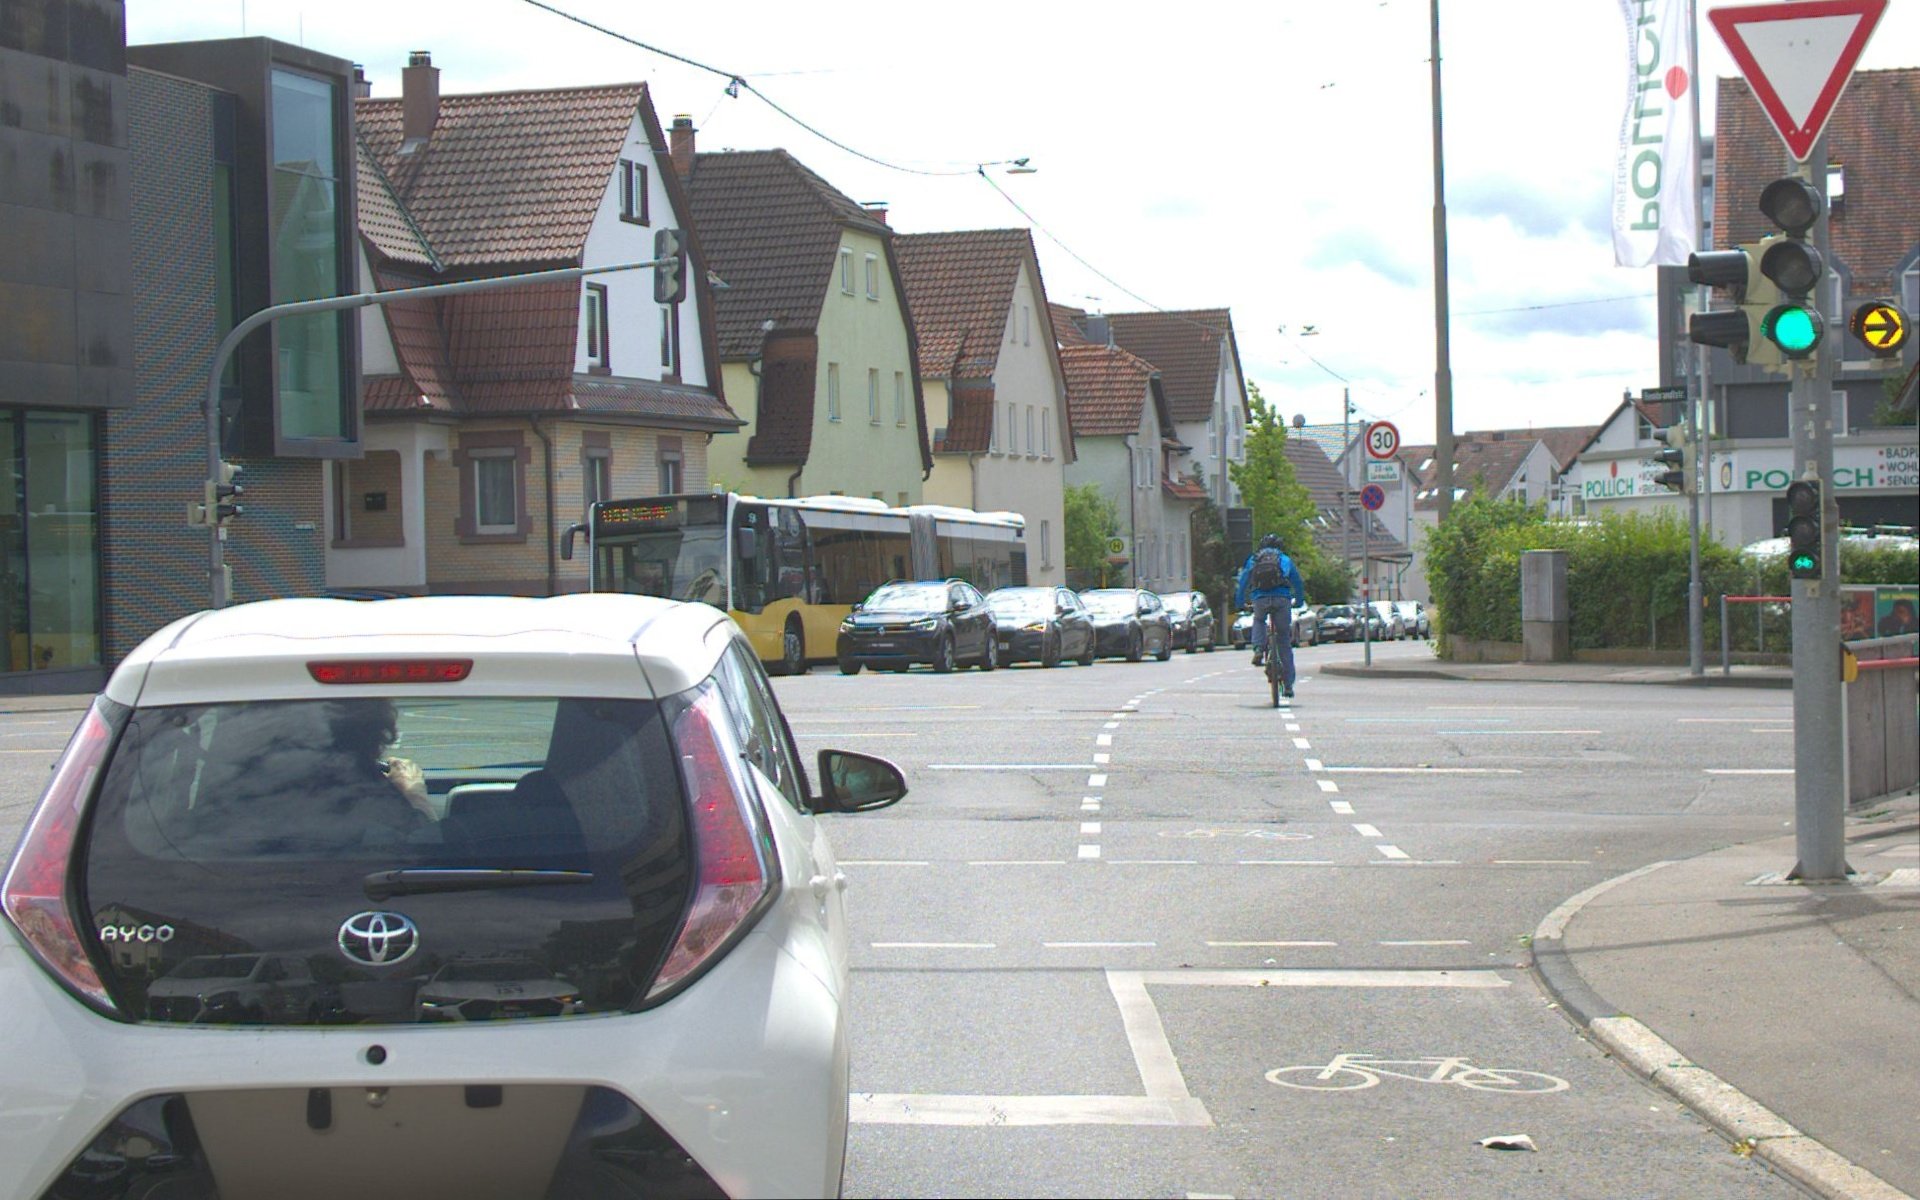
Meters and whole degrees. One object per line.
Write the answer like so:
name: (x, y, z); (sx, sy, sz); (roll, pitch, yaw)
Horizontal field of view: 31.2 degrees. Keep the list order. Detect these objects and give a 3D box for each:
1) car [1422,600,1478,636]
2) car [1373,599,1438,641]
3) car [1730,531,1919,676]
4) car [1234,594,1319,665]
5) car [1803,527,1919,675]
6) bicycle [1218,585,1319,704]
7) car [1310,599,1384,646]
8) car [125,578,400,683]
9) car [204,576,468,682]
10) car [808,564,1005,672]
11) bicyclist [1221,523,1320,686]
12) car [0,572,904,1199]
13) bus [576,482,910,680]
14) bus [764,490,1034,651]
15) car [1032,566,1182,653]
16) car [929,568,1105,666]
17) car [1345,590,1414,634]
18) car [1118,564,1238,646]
car: (23.098, 0.823, 161.934); (1.995, 1.634, 3.997); (0, 1, 17)
car: (18.278, 0.823, 140.875); (1.995, 1.634, 3.997); (0, 1, 17)
car: (13.224, 0.034, 48.875); (3.986, 2.007, 2.000); (0, 1, -8)
car: (9.343, 0.835, 101.280); (1.995, 2.007, 3.998); (0, 1, 13)
car: (13.684, 0.002, 46.462); (3.986, 1.941, 2.000); (0, 0, -9)
bicycle: (3.154, 0.439, 35.306); (0.832, 1.160, 2.192); (-1, 1, 0)
car: (14.168, 0.815, 125.811); (1.995, 1.634, 3.997); (0, 1, 17)
car: (-11.527, 0.486, 56.934); (3.989, 1.634, 1.999); (1, 1, 13)
car: (-10.790, 0.494, 59.568); (3.989, 1.678, 1.999); (-2, 0, 14)
car: (-0.807, 0.250, 54.799); (1.995, 1.634, 3.997); (0, 1, 17)
bicyclist: (3.172, 0.039, 35.209); (0.840, 1.609, 1.083); (2, 0, 0)
car: (-1.046, 0.687, 7.438); (1.738, 1.455, 3.533); (-1, 1, -3)
bus: (-3.443, -0.349, 57.601); (2.780, 3.050, 9.185); (0, 1, 15)
bus: (-1.018, -0.588, 66.610); (2.780, 2.905, 9.185); (0, 1, 15)
car: (2.911, 0.153, 67.173); (1.995, 1.634, 3.997); (0, 1, 17)
car: (1.039, 0.267, 59.998); (1.995, 1.634, 4.180); (0, 1, 17)
car: (16.388, 0.453, 134.182); (1.995, 1.634, 3.997); (0, 1, 17)
car: (5.542, 0.094, 87.082); (1.995, 2.007, 3.996); (0, 1, 20)
